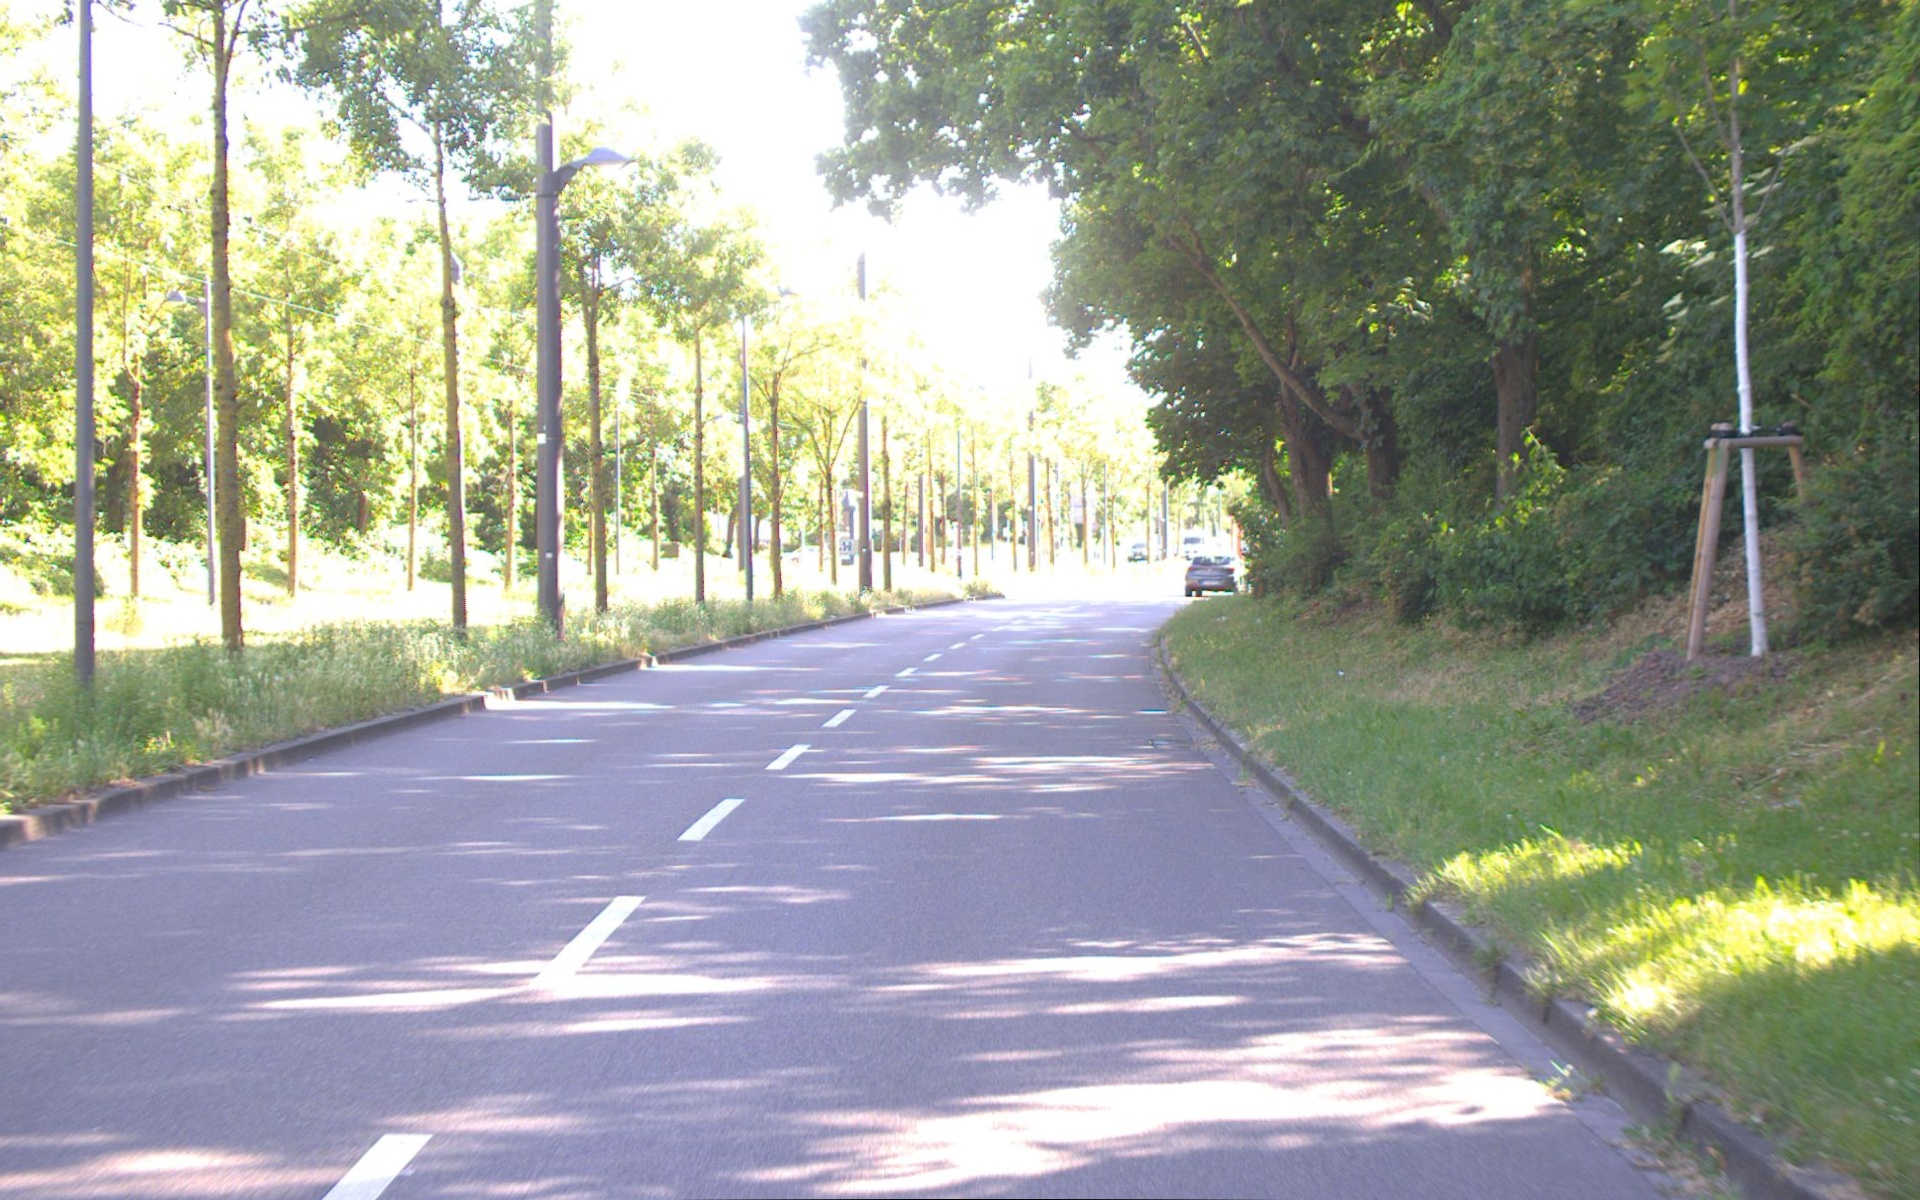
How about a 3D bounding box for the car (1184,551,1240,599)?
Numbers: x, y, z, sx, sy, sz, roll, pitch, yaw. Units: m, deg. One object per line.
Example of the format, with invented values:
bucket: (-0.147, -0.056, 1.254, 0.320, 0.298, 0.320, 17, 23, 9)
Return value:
car: (8.181, -0.837, 111.487, 1.634, 1.493, 4.233, 1, 1, 7)
